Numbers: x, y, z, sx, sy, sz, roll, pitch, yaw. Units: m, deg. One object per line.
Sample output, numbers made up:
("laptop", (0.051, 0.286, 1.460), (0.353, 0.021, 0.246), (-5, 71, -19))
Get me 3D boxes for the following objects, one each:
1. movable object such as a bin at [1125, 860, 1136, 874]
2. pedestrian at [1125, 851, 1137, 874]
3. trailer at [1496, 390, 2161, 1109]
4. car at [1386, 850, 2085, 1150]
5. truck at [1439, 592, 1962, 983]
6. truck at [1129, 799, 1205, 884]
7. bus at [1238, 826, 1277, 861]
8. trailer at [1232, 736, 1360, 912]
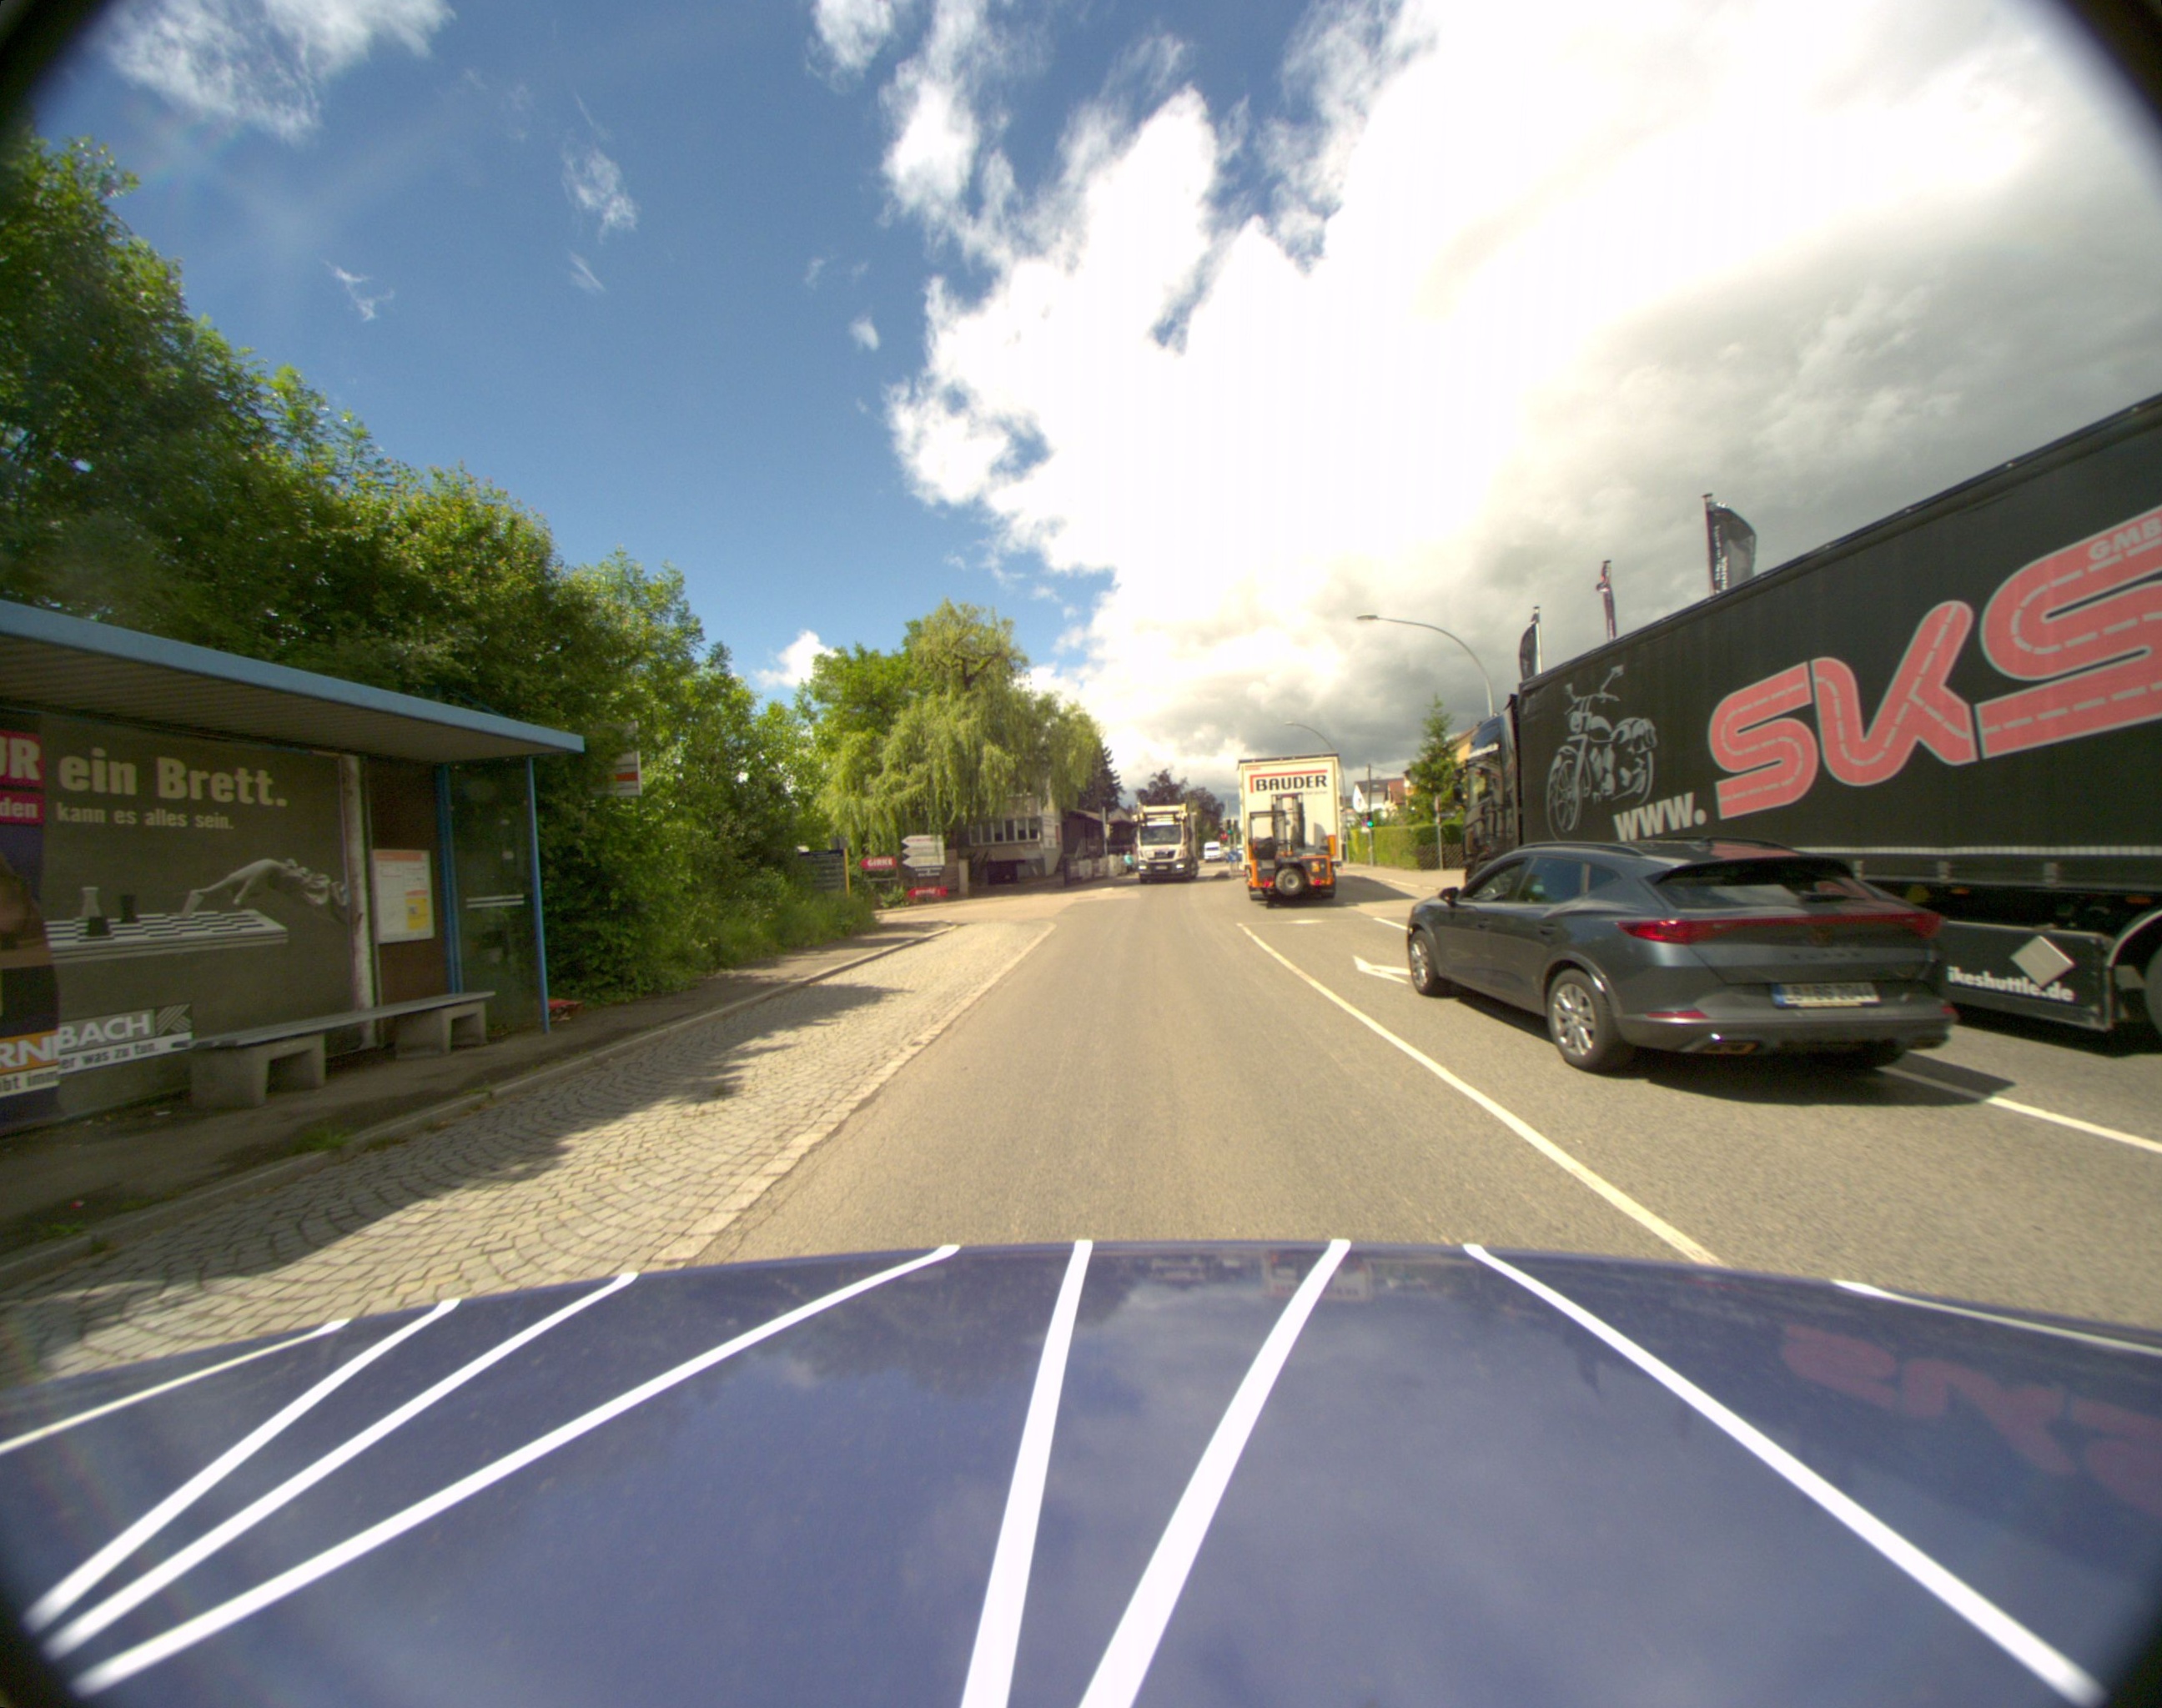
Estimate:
("movable object such as a bin", (3.315, 0.866, 50.697), (0.670, 0.866, 0.748), (-1, 1, 3))
("pedestrian", (3.279, 0.545, 50.111), (0.733, 1.534, 0.841), (-1, 1, 2))
("trailer", (7.499, -0.632, 4.447), (2.805, 4.029, 15.560), (-3, 0, 5))
("car", (4.112, 0.722, 5.915), (1.844, 1.455, 4.253), (-2, 0, 2))
("truck", (8.176, -0.713, 11.430), (2.805, 4.029, 6.503), (-3, 0, 5))
("truck", (4.777, -0.658, 40.221), (2.662, 3.789, 9.823), (-3, 0, 13))
("bus", (17.126, -1.053, 74.345), (2.724, 3.013, 12.272), (-2, 1, 9))
("trailer", (6.966, -0.843, 25.987), (2.775, 4.120, 15.363), (-3, 0, 13))
